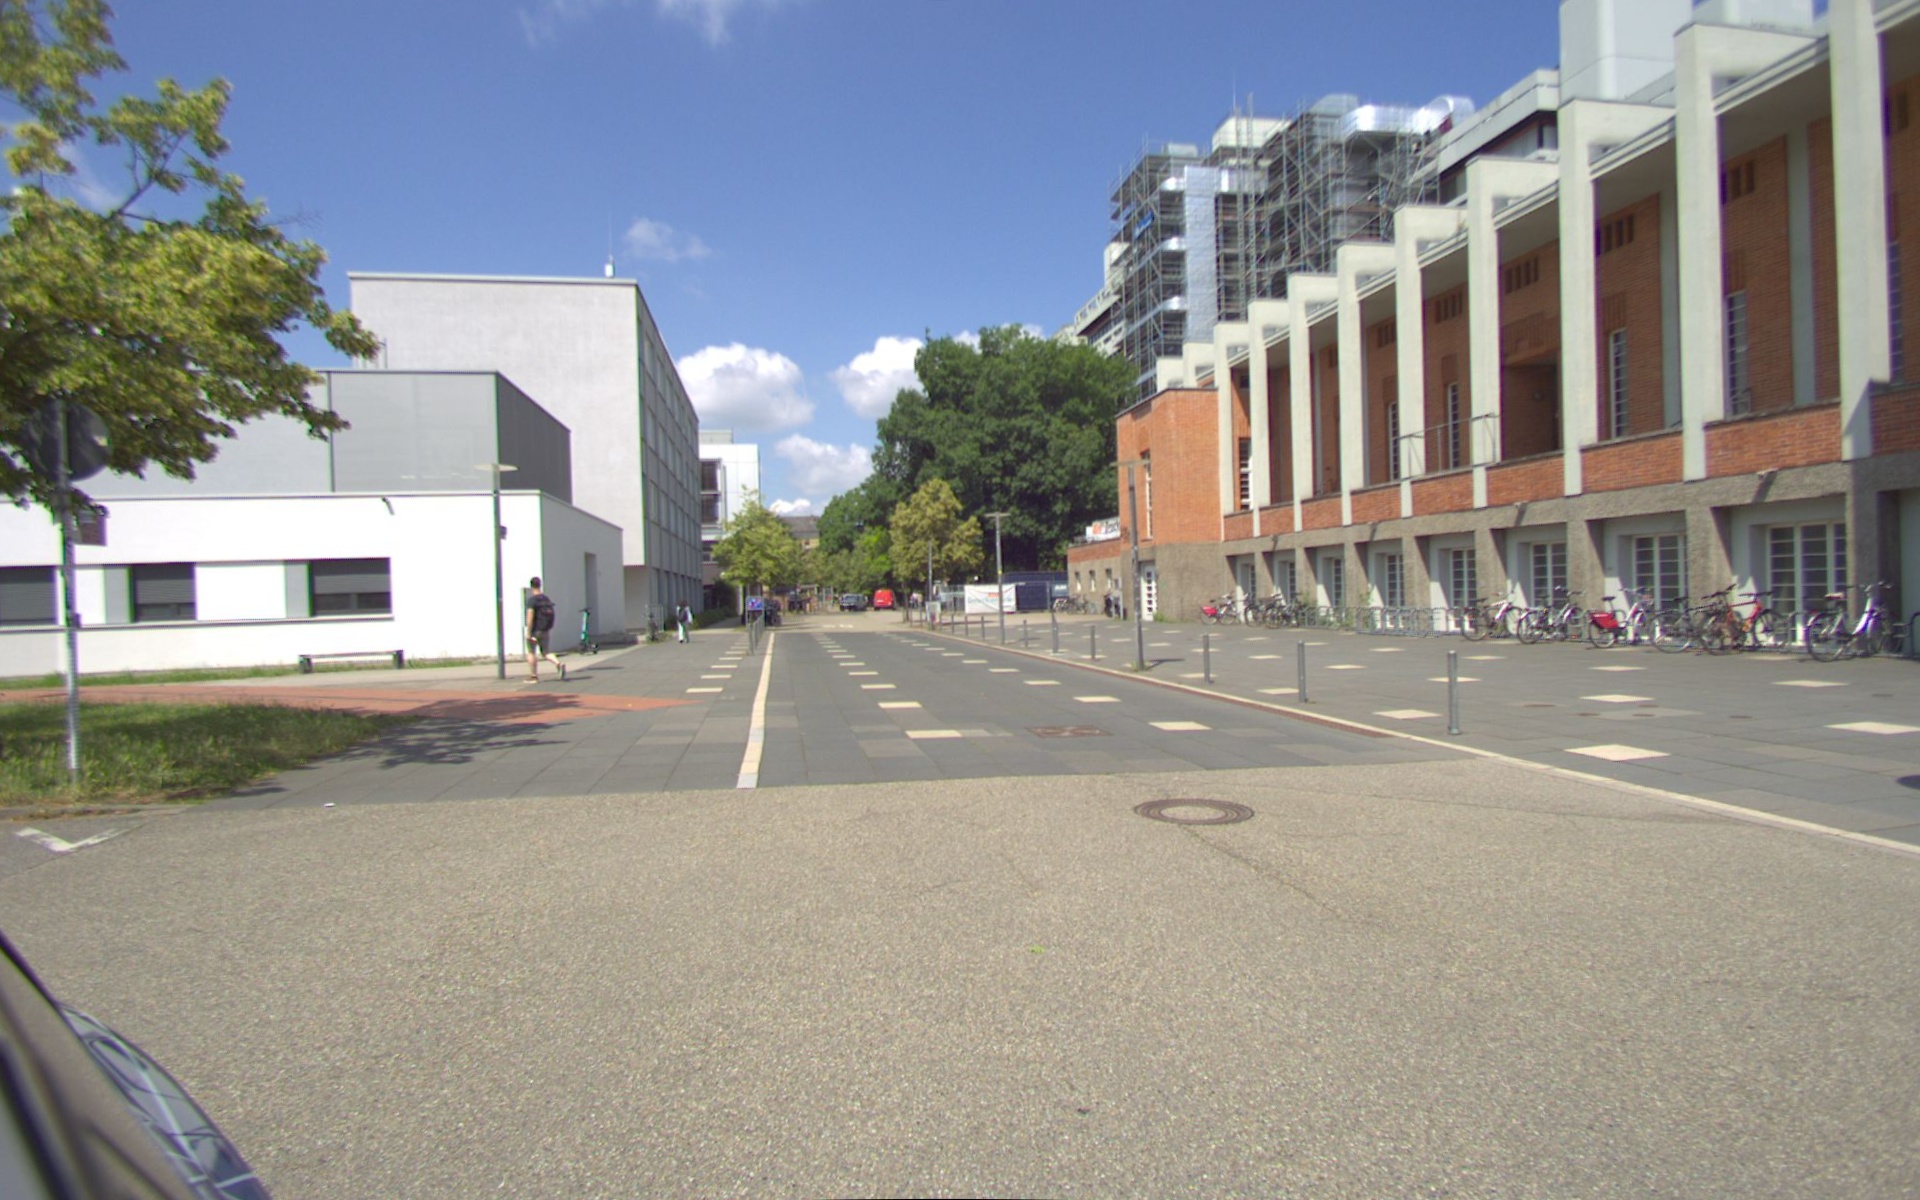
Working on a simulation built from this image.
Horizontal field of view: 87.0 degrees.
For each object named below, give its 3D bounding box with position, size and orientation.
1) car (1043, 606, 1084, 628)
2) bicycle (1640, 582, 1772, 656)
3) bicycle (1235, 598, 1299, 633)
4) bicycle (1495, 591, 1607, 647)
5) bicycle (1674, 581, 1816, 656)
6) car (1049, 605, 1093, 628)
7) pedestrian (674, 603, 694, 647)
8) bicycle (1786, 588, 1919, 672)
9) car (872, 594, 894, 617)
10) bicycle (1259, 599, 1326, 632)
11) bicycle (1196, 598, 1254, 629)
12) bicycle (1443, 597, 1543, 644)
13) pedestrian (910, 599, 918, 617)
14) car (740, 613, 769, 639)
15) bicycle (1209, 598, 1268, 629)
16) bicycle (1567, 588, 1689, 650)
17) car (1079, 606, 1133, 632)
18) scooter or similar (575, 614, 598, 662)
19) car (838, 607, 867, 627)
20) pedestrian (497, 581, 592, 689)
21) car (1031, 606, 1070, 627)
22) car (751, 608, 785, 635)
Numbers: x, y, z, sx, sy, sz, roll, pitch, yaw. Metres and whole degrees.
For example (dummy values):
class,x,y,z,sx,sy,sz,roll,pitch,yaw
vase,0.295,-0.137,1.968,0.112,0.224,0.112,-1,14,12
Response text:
class,x,y,z,sx,sy,sz,roll,pitch,yaw
car,6.036,0.969,59.142,2.254,1.189,0.525,-2,0,-8
bicycle,12.838,0.320,17.422,1.997,1.134,0.439,-3,0,-6
bicycle,9.998,0.499,32.977,1.925,1.038,0.531,-2,0,-11
bicycle,12.071,0.379,20.673,1.995,1.069,0.665,-2,0,-11
bicycle,12.901,0.295,16.648,1.996,1.134,0.593,-2,0,-9
car,6.282,0.936,57.206,2.332,1.189,0.796,-2,0,-8
pedestrian,-9.278,0.846,34.063,0.517,1.449,0.702,-2,0,-7
bicycle,13.237,0.419,14.773,1.995,1.134,0.668,-2,0,-11
car,-6.763,0.505,89.088,1.886,1.896,4.003,-2,-1,-4
bicycle,10.324,0.481,31.449,1.925,0.947,0.570,-2,0,-11
bicycle,9.490,0.469,36.238,1.925,1.038,0.543,-2,0,-11
bicycle,11.818,0.441,22.448,1.925,0.967,0.686,-2,0,-11
pedestrian,-4.047,0.671,89.120,0.634,1.550,0.453,-2,0,1
car,-11.910,1.487,58.630,1.527,1.396,3.462,-2,0,-12
bicycle,9.726,0.469,35.380,1.925,1.038,0.520,-2,0,-11
bicycle,12.482,0.347,18.924,1.983,1.090,0.623,-2,0,-11
car,7.150,0.921,49.464,2.490,1.189,0.633,-2,0,-8
scooter or similar,-9.956,1.010,26.993,0.322,1.245,1.075,-2,0,-8
car,-12.167,1.893,114.945,2.005,2.108,4.418,-2,-1,11
pedestrian,-7.277,0.603,17.754,1.162,1.814,1.015,0,-2,18
car,5.486,1.009,61.544,2.290,1.189,0.480,-2,0,-8
car,-12.656,1.393,66.966,1.911,1.694,3.473,-1,0,-6
